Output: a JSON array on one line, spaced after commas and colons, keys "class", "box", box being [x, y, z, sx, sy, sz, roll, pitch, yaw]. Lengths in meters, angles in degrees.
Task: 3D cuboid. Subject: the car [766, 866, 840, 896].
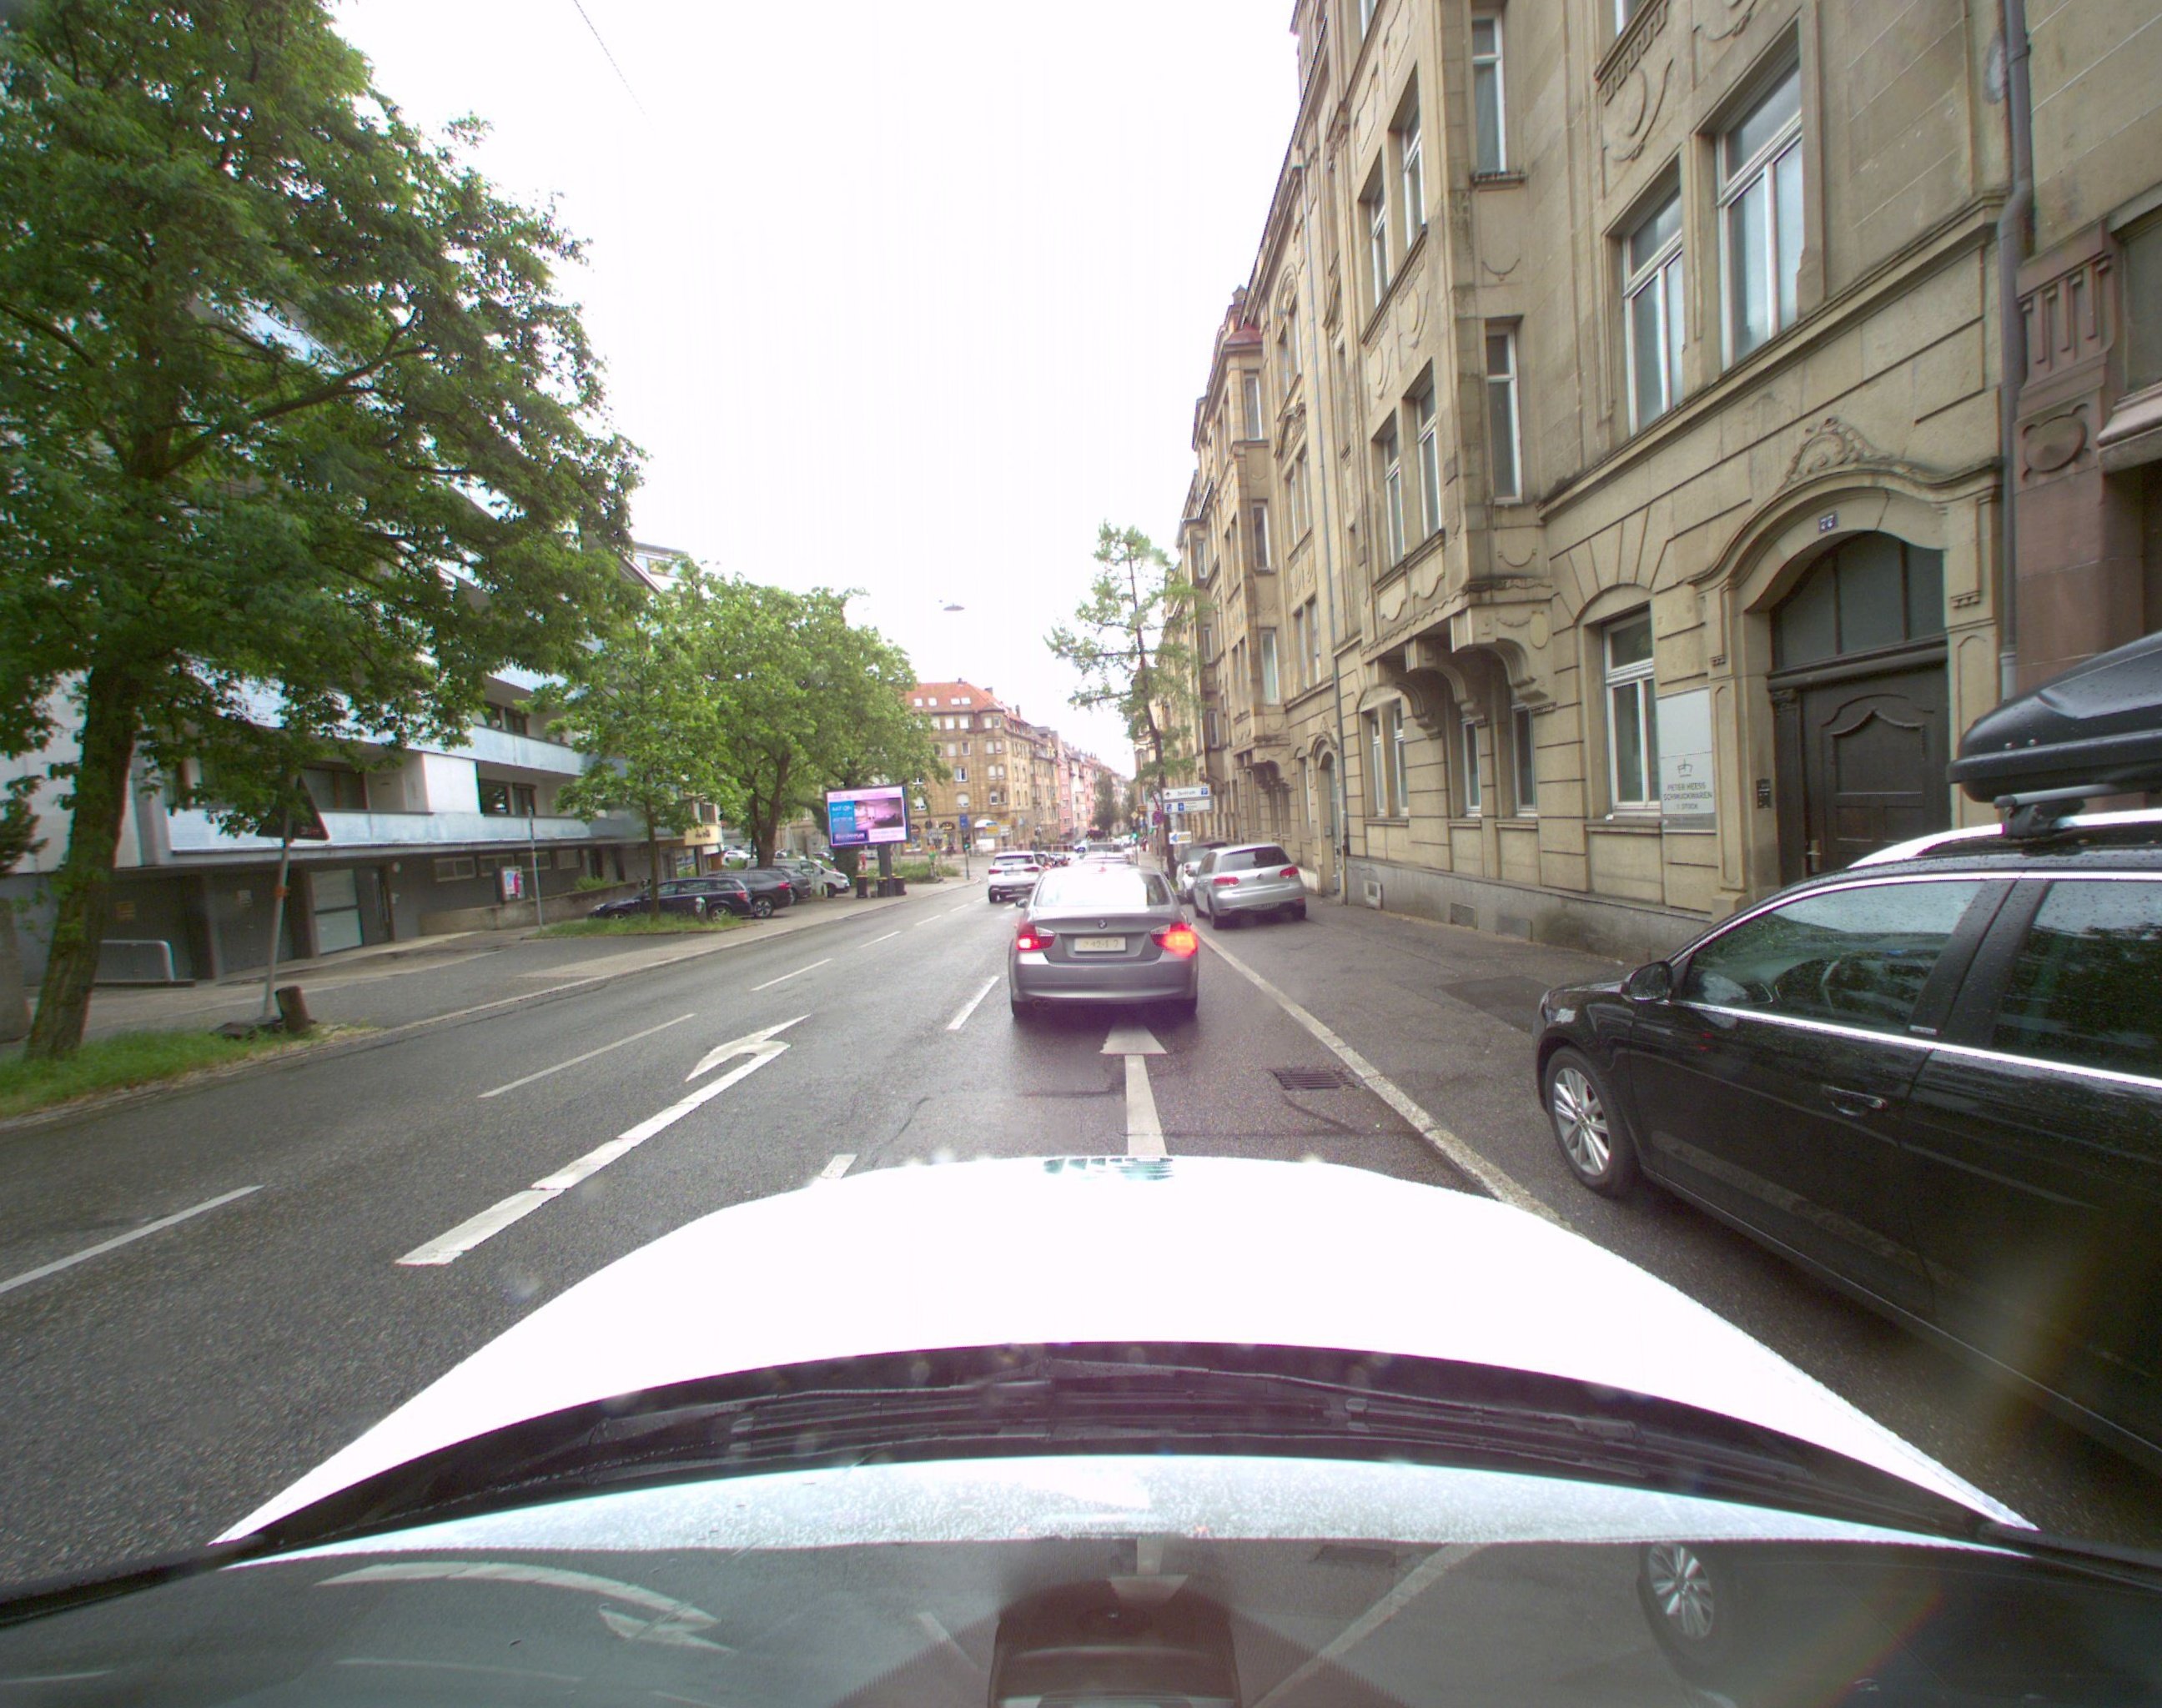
[{"class": "car", "box": [-16.201, 1.556, 47.603, 3.985, 1.450, 1.758, -3, 0, -19]}]

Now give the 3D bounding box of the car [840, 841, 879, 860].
[{"class": "car", "box": [-26.515, -0.435, 97.556, 4.238, 2.101, 2.013, 0, 2, 30]}]

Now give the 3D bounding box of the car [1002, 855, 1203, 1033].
[{"class": "car", "box": [0.270, 0.751, 8.543, 1.617, 1.383, 3.618, -2, 0, 3]}]

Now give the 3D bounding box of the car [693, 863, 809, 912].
[{"class": "car", "box": [-13.964, 1.396, 34.748, 4.370, 1.784, 1.927, -3, 0, -19]}]

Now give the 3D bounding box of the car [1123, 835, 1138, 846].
[{"class": "car", "box": [7.383, -2.009, 120.885, 1.983, 1.578, 4.008, 0, -1, 7]}]

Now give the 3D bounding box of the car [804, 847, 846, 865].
[{"class": "car", "box": [-27.458, 0.211, 87.365, 4.194, 1.726, 2.013, -1, 2, 32]}]

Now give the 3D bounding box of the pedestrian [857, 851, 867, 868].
[{"class": "pedestrian", "box": [-21.006, 0.504, 78.179, 0.533, 1.577, 0.722, -5, 0, 12]}]

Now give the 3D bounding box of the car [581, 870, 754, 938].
[{"class": "car", "box": [-12.286, 1.444, 24.544, 4.373, 1.574, 1.930, -4, 0, -21]}]

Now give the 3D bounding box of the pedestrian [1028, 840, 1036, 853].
[{"class": "pedestrian", "box": [-6.120, -0.932, 101.507, 0.727, 1.577, 0.530, -3, 0, 10]}]

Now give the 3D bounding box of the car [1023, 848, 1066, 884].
[{"class": "car", "box": [-1.799, 0.573, 41.315, 1.752, 1.707, 4.003, -2, 0, 3]}]

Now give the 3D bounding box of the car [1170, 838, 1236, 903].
[{"class": "car", "box": [3.342, 0.419, 22.730, 1.295, 1.543, 2.977, -7, 0, 1]}]

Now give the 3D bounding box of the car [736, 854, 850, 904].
[{"class": "car", "box": [-14.065, 1.186, 39.976, 5.076, 2.105, 1.979, -3, 0, -19]}]

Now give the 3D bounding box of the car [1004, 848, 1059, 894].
[{"class": "car", "box": [-1.948, 0.652, 33.429, 1.752, 1.707, 4.003, -2, 0, 3]}]

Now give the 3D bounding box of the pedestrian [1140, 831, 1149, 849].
[{"class": "pedestrian", "box": [6.918, -1.514, 88.735, 0.740, 1.910, 0.659, -3, 0, 1]}]

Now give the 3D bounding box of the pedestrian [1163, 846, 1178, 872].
[{"class": "pedestrian", "box": [5.461, 0.291, 49.673, 0.629, 1.508, 0.693, -7, 0, 1]}]

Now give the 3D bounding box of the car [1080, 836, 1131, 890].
[{"class": "car", "box": [1.059, 0.354, 34.648, 1.986, 2.106, 4.002, -2, 0, 2]}]

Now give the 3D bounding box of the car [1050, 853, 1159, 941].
[{"class": "car", "box": [0.498, 0.708, 15.490, 1.752, 1.383, 4.003, -2, 0, 3]}]

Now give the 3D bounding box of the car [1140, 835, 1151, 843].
[{"class": "car", "box": [10.073, -2.325, 127.897, 1.429, 1.174, 3.435, 0, 0, 1]}]

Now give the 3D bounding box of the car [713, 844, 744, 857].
[{"class": "car", "box": [-47.150, -0.415, 108.775, 3.949, 1.689, 1.738, -1, -1, 29]}]

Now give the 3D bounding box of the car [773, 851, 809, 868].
[{"class": "car", "box": [-36.902, 0.648, 103.556, 4.238, 2.101, 2.013, 0, 2, 30]}]

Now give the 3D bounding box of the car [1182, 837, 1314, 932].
[{"class": "car", "box": [3.179, 0.520, 16.314, 1.753, 1.451, 4.001, -7, 0, 1]}]

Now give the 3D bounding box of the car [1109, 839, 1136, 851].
[{"class": "car", "box": [5.793, -1.295, 113.915, 1.974, 1.578, 4.025, -1, -1, 34]}]

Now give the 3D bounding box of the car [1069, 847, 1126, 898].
[{"class": "car", "box": [0.642, 0.572, 27.828, 1.752, 1.567, 4.003, -2, 0, 3]}]

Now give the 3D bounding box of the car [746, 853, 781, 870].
[{"class": "car", "box": [-41.401, 0.960, 106.121, 4.238, 2.101, 2.013, 0, 2, 30]}]

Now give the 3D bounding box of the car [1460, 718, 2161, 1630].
[{"class": "car", "box": [2.771, 0.488, 1.980, 1.753, 1.651, 4.101, -7, 0, 2]}]

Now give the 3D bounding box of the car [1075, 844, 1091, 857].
[{"class": "car", "box": [0.246, -0.401, 97.072, 1.709, 1.450, 3.743, -3, 0, 1]}]

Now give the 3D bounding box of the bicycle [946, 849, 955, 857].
[{"class": "bicycle", "box": [-15.107, -0.100, 94.240, 0.569, 0.858, 1.527, -1, -1, 13]}]

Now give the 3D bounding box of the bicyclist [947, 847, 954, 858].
[{"class": "bicyclist", "box": [-15.134, -0.158, 94.146, 0.565, 1.273, 0.692, -1, -1, 14]}]

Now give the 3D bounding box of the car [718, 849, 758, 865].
[{"class": "car", "box": [-39.916, 0.366, 94.743, 4.195, 1.726, 2.013, -2, 3, 31]}]

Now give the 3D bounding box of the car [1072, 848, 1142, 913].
[{"class": "car", "box": [0.704, 0.610, 20.950, 1.588, 1.464, 4.003, -1, 0, 3]}]

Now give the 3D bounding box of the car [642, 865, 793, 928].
[{"class": "car", "box": [-12.027, 1.370, 27.292, 4.382, 1.672, 1.842, -4, 0, -21]}]

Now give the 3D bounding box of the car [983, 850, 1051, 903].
[{"class": "car", "box": [-2.106, 0.702, 27.873, 1.861, 1.625, 4.001, -2, 0, 1]}]

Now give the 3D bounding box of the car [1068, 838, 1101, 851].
[{"class": "car", "box": [0.542, -1.549, 130.138, 5.158, 2.014, 2.699, 0, -1, 1]}]

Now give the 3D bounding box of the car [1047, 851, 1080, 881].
[{"class": "car", "box": [-1.062, 0.725, 50.949, 1.752, 1.707, 4.003, -2, 0, 3]}]
